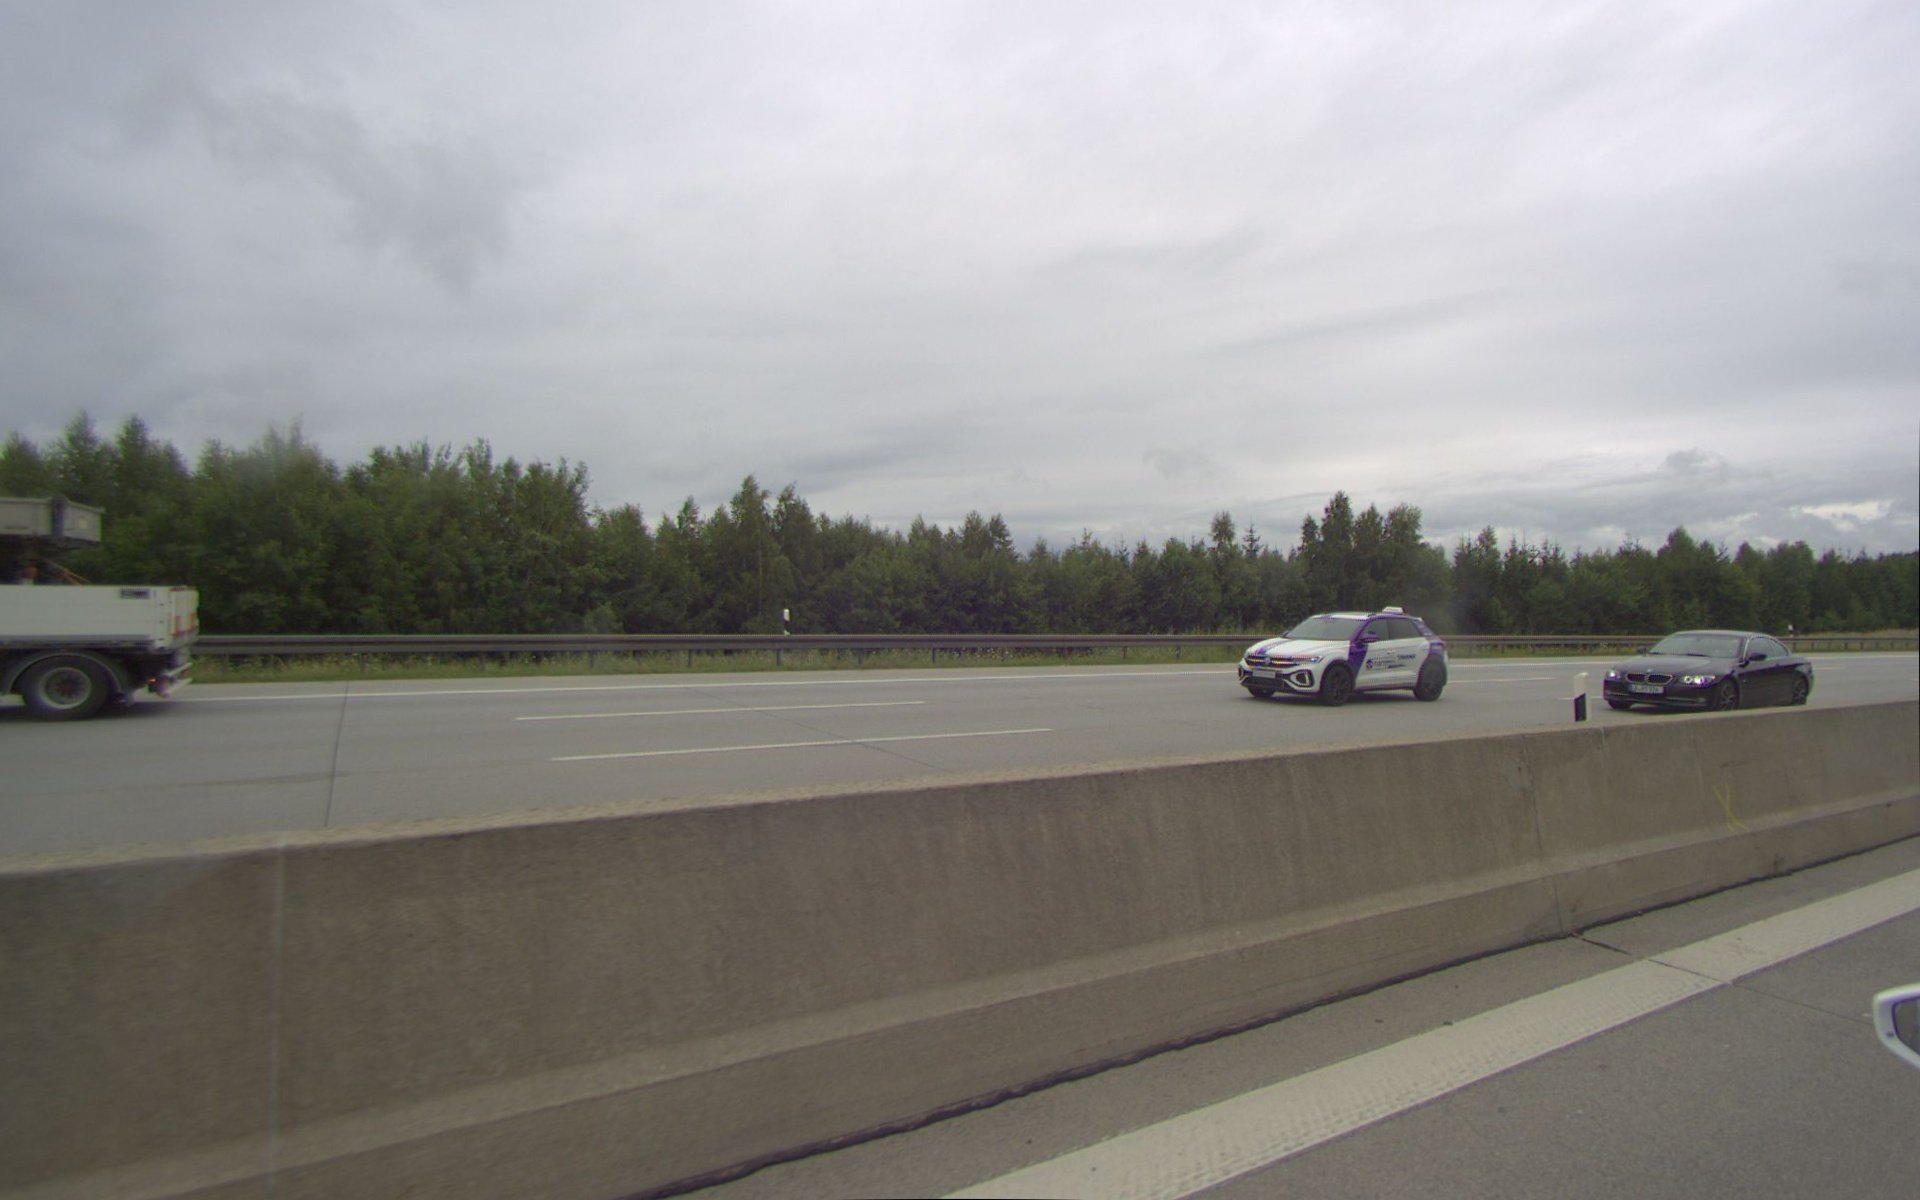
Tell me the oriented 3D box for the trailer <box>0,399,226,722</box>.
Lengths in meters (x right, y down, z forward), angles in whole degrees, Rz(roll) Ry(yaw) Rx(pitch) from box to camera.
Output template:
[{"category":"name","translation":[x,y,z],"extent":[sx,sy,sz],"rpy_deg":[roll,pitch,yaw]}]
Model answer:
[{"category":"trailer","translation":[-15.576,-0.561,9.589],"extent":[13.571,3.589,2.572],"rpy_deg":[2,-1,-32]}]

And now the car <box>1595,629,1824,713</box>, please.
[{"category":"car","translation":[13.049,1.247,17.405],"extent":[4.446,1.283,1.753],"rpy_deg":[4,-3,-33]}]

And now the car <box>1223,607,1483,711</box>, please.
[{"category":"car","translation":[7.064,0.970,17.929],"extent":[4.700,1.608,1.754],"rpy_deg":[1,1,-30]}]
